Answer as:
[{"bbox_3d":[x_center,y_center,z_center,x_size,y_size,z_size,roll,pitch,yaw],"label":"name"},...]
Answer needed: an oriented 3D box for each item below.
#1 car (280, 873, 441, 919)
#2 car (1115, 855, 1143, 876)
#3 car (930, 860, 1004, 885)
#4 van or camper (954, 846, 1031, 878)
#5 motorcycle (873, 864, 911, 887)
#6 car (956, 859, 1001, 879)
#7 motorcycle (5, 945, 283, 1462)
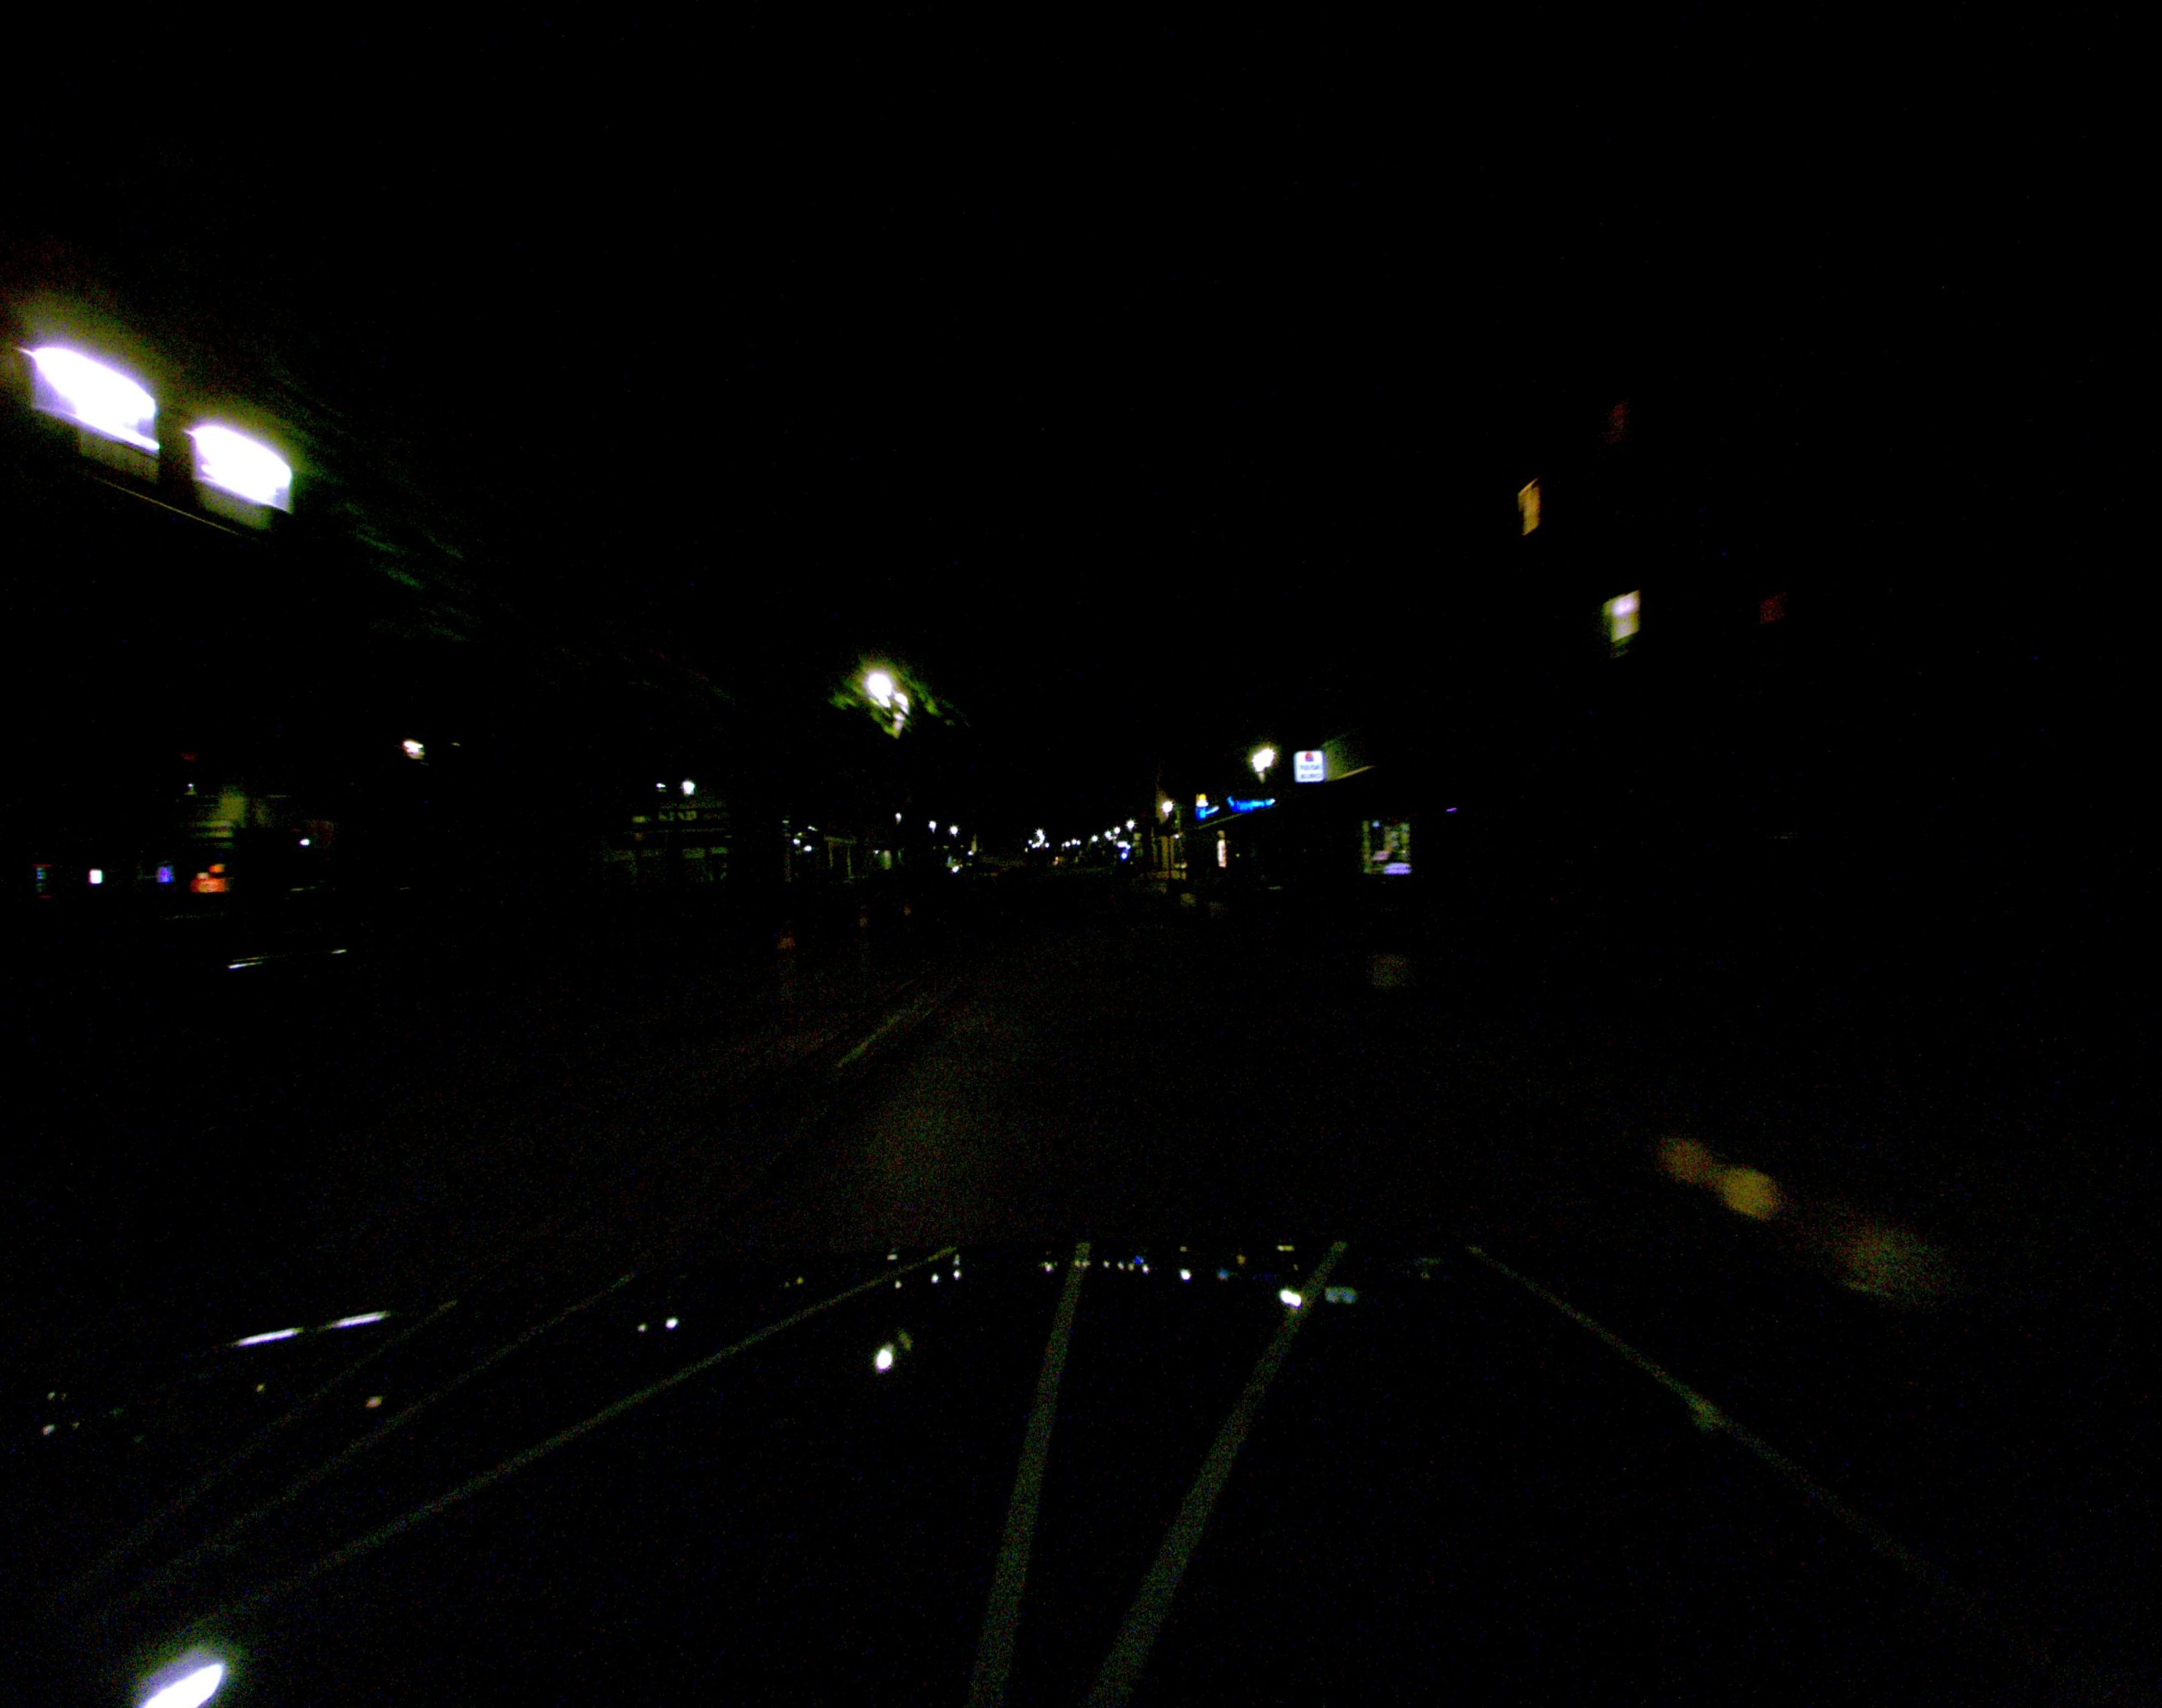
[{"bbox_3d":[-26.215,1.504,27.754,3.997,1.580,1.901,-1,-1,-1],"label":"car"},{"bbox_3d":[3.525,0.865,56.784,1.655,1.417,4.014,-4,0,-1],"label":"car"},{"bbox_3d":[-7.513,1.210,50.340,4.555,1.447,1.633,-2,0,-36],"label":"car"},{"bbox_3d":[-7.436,0.632,64.202,6.061,2.518,2.157,-2,0,-31],"label":"van or camper"},{"bbox_3d":[-11.332,1.285,45.679,2.226,1.263,0.531,-2,0,-43],"label":"motorcycle"},{"bbox_3d":[-8.273,1.202,61.133,3.183,1.447,1.691,-2,0,-28],"label":"car"},{"bbox_3d":[-3.729,1.101,3.028,2.164,1.290,0.516,-1,1,38],"label":"motorcycle"}]
